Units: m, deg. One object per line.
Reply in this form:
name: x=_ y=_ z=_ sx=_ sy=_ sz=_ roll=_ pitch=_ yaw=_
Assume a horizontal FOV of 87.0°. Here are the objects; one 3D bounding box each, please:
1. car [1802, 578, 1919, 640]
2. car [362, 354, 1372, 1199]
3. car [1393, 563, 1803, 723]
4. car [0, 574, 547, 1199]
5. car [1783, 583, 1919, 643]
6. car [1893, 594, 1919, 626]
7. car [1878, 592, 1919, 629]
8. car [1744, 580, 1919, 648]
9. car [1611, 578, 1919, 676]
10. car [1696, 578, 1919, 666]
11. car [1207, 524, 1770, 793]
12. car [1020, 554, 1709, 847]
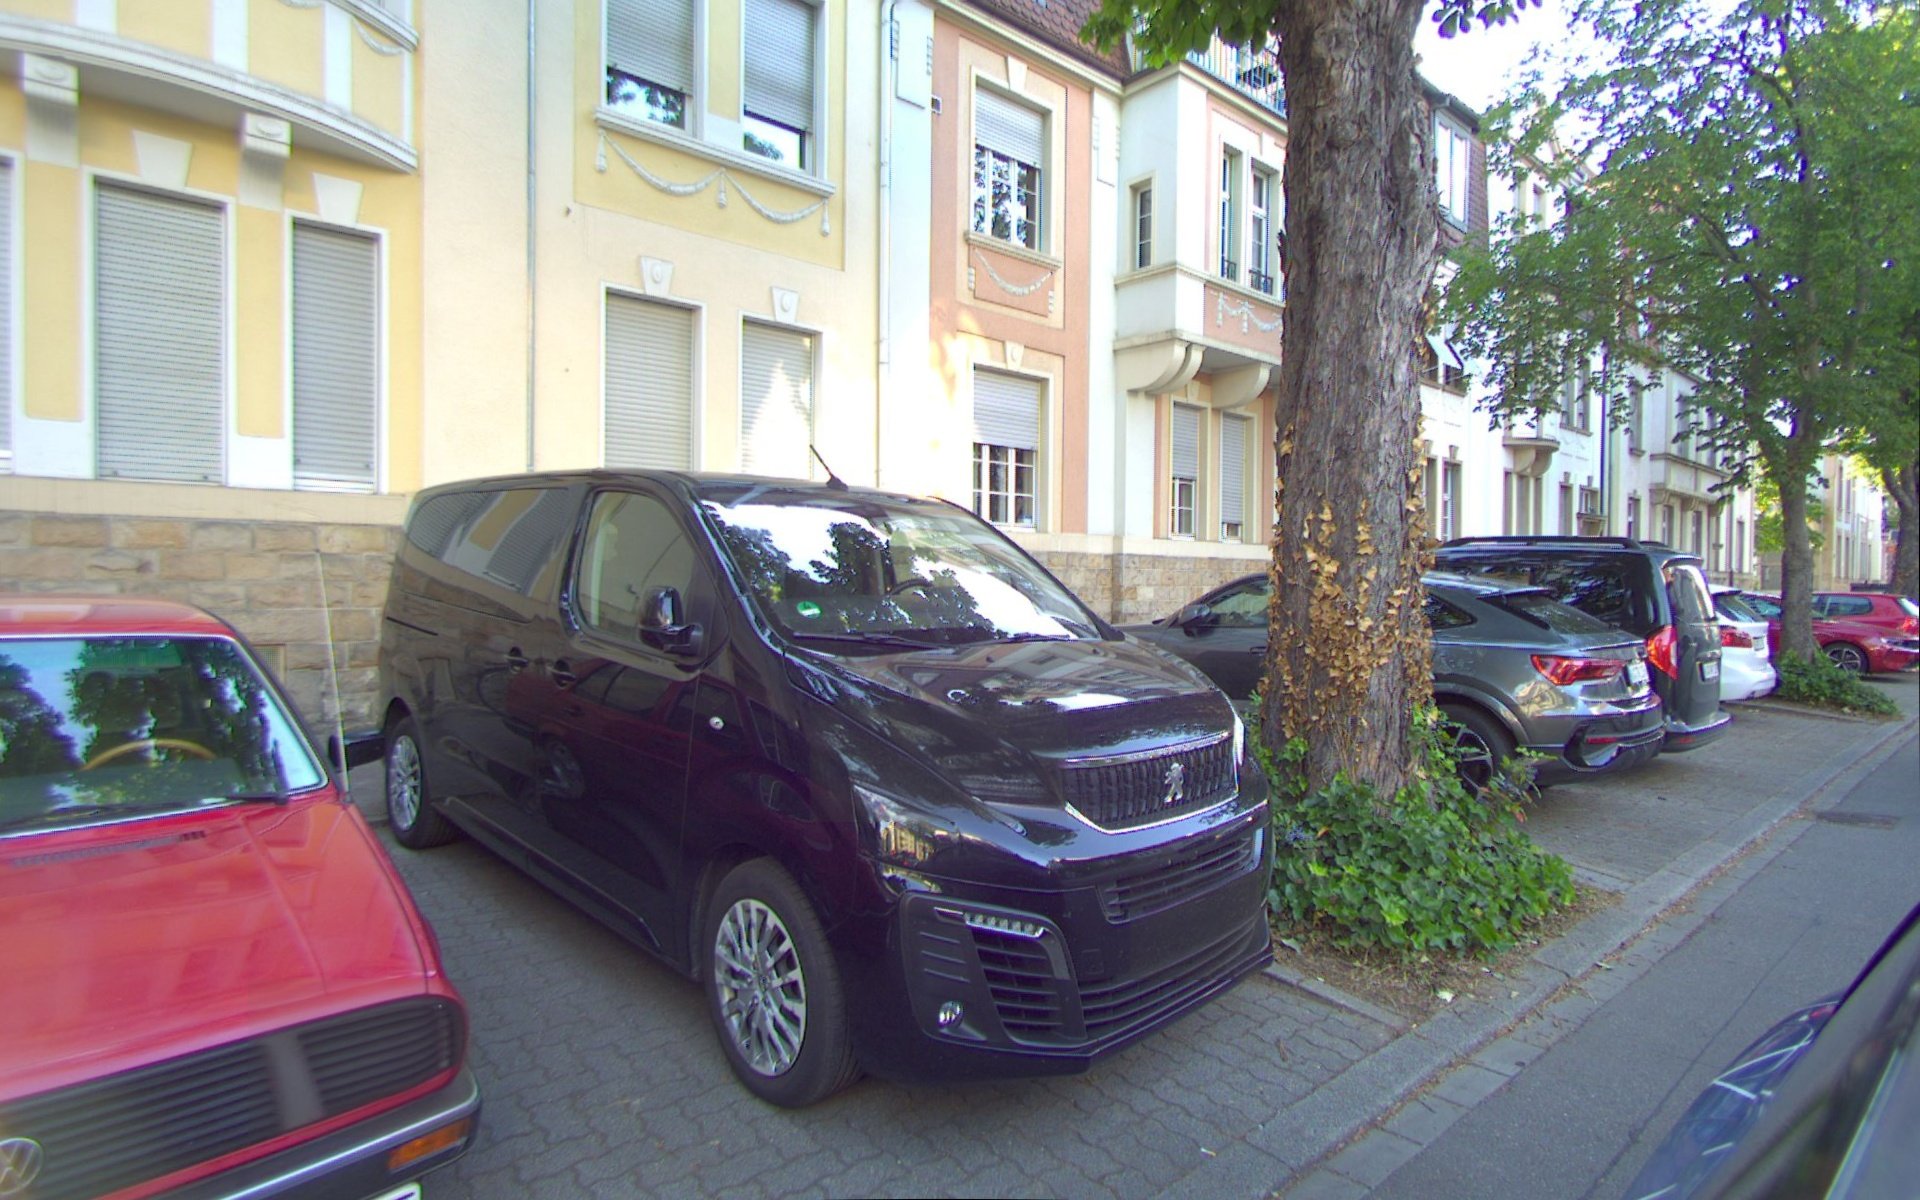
car: x=25.869 y=0.237 z=28.028 sx=1.548 sy=1.576 sz=3.681 roll=0 pitch=2 yaw=-39
car: x=-0.941 y=0.332 z=4.471 sx=1.867 sy=1.897 sz=4.753 roll=-1 pitch=3 yaw=-44
car: x=7.701 y=0.383 z=12.521 sx=1.689 sy=1.597 sz=3.948 roll=0 pitch=3 yaw=-41
car: x=-2.876 y=0.636 z=3.031 sx=1.603 sy=1.332 sz=4.139 roll=-1 pitch=3 yaw=-44
car: x=24.003 y=0.324 z=26.407 sx=1.548 sy=1.416 sz=3.681 roll=0 pitch=3 yaw=-39
car: x=34.275 y=0.383 z=34.526 sx=1.515 sy=1.076 sz=3.399 roll=0 pitch=3 yaw=-39
car: x=31.894 y=0.384 z=32.463 sx=1.515 sy=1.164 sz=3.399 roll=0 pitch=3 yaw=-39
car: x=21.851 y=0.303 z=24.969 sx=1.548 sy=1.484 sz=3.681 roll=0 pitch=3 yaw=-39
car: x=14.784 y=0.389 z=18.459 sx=1.833 sy=1.470 sz=4.533 roll=0 pitch=3 yaw=-38
car: x=16.894 y=0.359 z=19.814 sx=1.628 sy=1.499 sz=3.682 roll=0 pitch=2 yaw=-38
car: x=4.517 y=0.315 z=9.141 sx=1.814 sy=1.860 sz=4.116 roll=-1 pitch=3 yaw=-42
car: x=2.742 y=0.461 z=7.698 sx=1.815 sy=1.542 sz=4.513 roll=-1 pitch=3 yaw=-44
